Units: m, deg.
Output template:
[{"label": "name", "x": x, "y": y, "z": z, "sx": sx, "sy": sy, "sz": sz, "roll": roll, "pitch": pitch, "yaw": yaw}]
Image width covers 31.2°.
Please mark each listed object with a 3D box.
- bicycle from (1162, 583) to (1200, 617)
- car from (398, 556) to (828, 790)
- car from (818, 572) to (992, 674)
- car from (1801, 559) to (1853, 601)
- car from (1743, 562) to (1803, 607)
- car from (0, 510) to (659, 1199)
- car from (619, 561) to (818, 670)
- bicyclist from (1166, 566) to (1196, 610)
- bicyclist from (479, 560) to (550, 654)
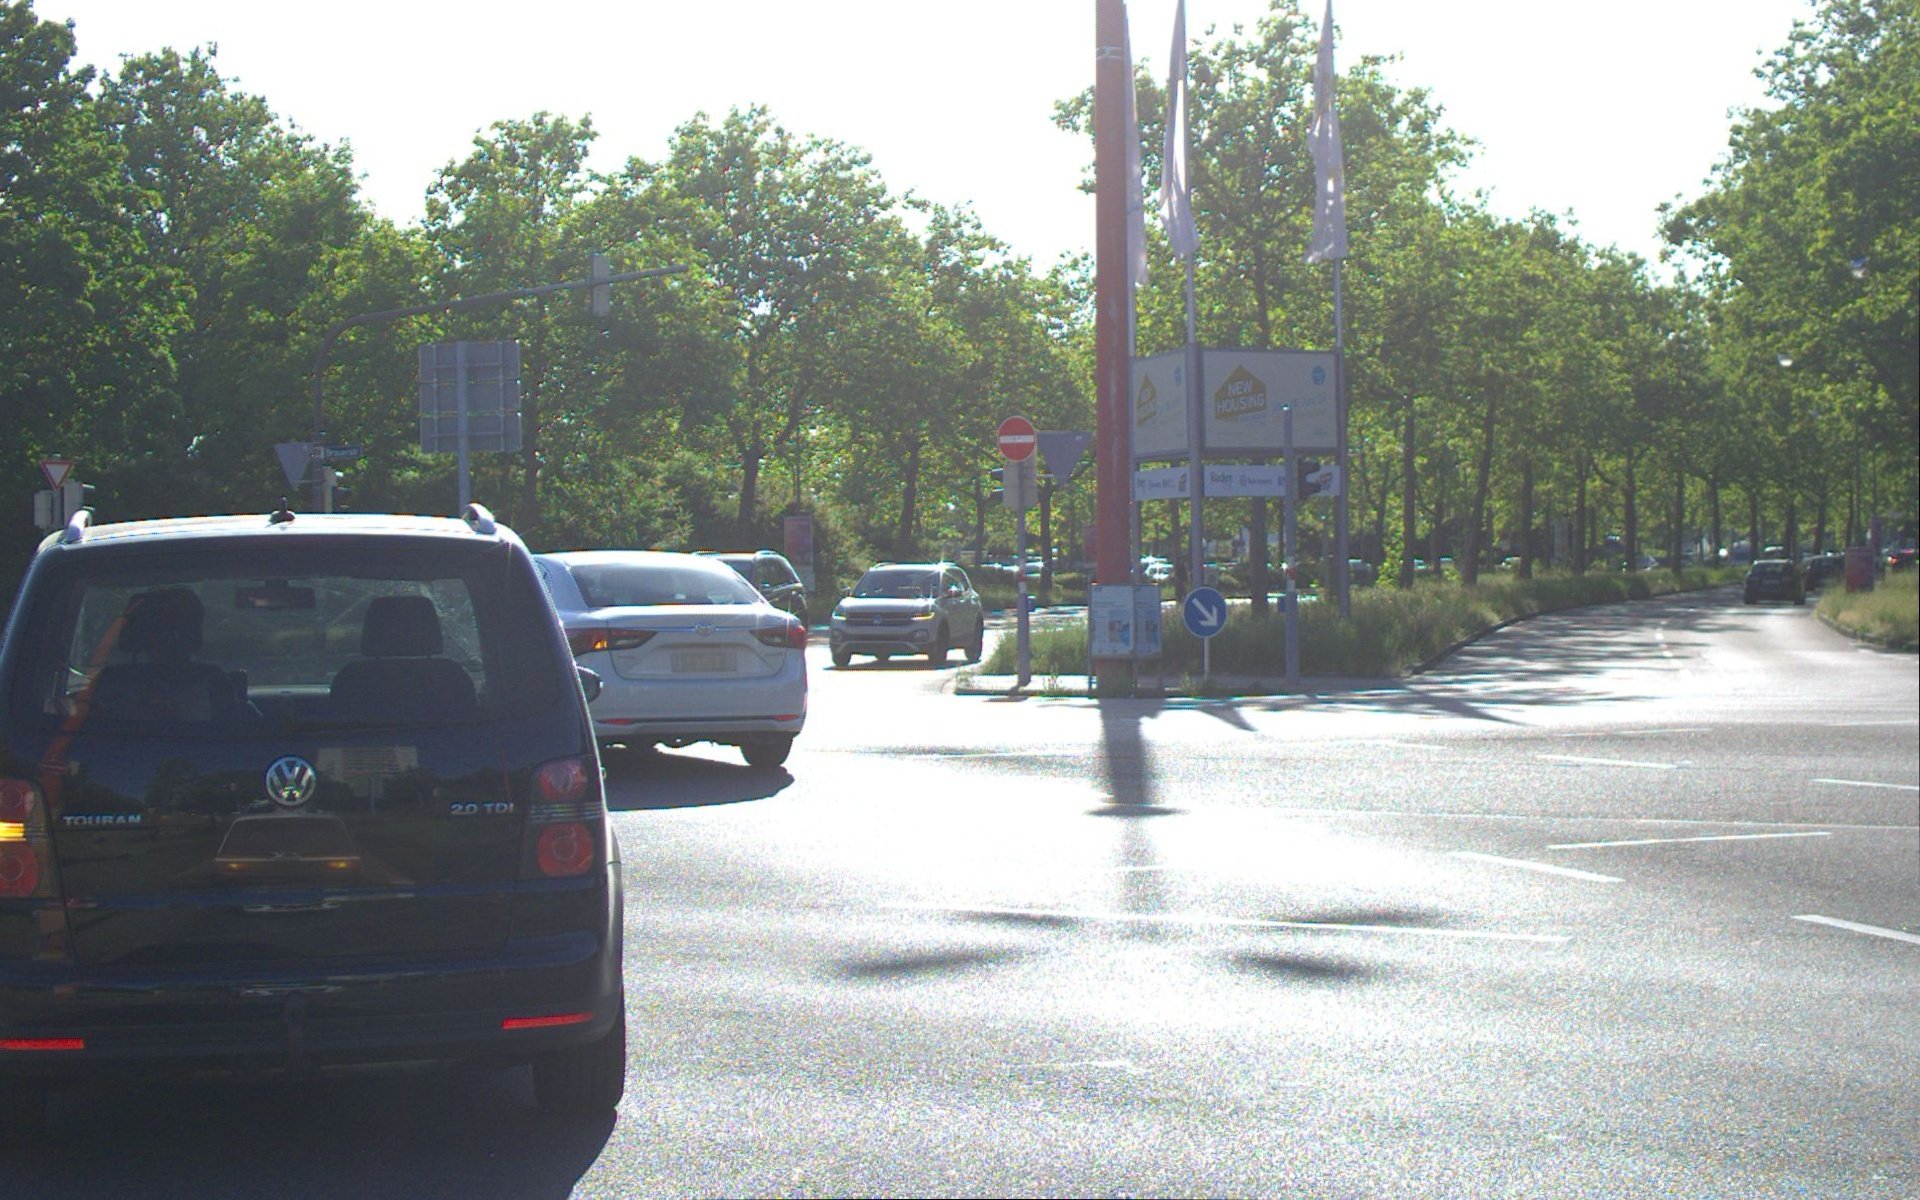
[{"label": "bicycle", "x": 7.234, "y": -0.004, "z": 112.523, "sx": 0.735, "sy": 1.088, "sz": 2.013, "roll": -1, "pitch": 0, "yaw": 18}, {"label": "car", "x": -2.511, "y": 0.439, "z": 23.870, "sx": 1.767, "sy": 1.459, "sz": 4.367, "roll": 0, "pitch": 1, "yaw": -23}, {"label": "car", "x": -0.828, "y": 0.339, "z": 54.301, "sx": 1.768, "sy": 1.533, "sz": 4.089, "roll": 0, "pitch": 0, "yaw": 14}, {"label": "car", "x": 35.429, "y": -0.817, "z": 140.521, "sx": 1.873, "sy": 1.621, "sz": 3.998, "roll": 1, "pitch": 0, "yaw": 12}, {"label": "car", "x": 26.026, "y": -0.505, "z": 109.979, "sx": 1.791, "sy": 1.383, "sz": 4.047, "roll": 1, "pitch": 1, "yaw": 14}, {"label": "car", "x": -1.940, "y": 0.587, "z": 10.555, "sx": 1.767, "sy": 1.638, "sz": 4.924, "roll": 0, "pitch": 0, "yaw": -8}, {"label": "car", "x": -3.957, "y": 0.224, "z": 57.071, "sx": 1.903, "sy": 1.720, "sz": 4.650, "roll": 0, "pitch": 0, "yaw": 15}, {"label": "bicyclist", "x": 7.228, "y": -0.401, "z": 112.513, "sx": 0.735, "sy": 1.431, "sz": 0.965, "roll": -1, "pitch": 0, "yaw": 18}, {"label": "bicyclist", "x": -7.475, "y": 0.111, "z": 57.710, "sx": 0.760, "sy": 1.552, "sz": 0.980, "roll": -1, "pitch": 1, "yaw": 22}]
